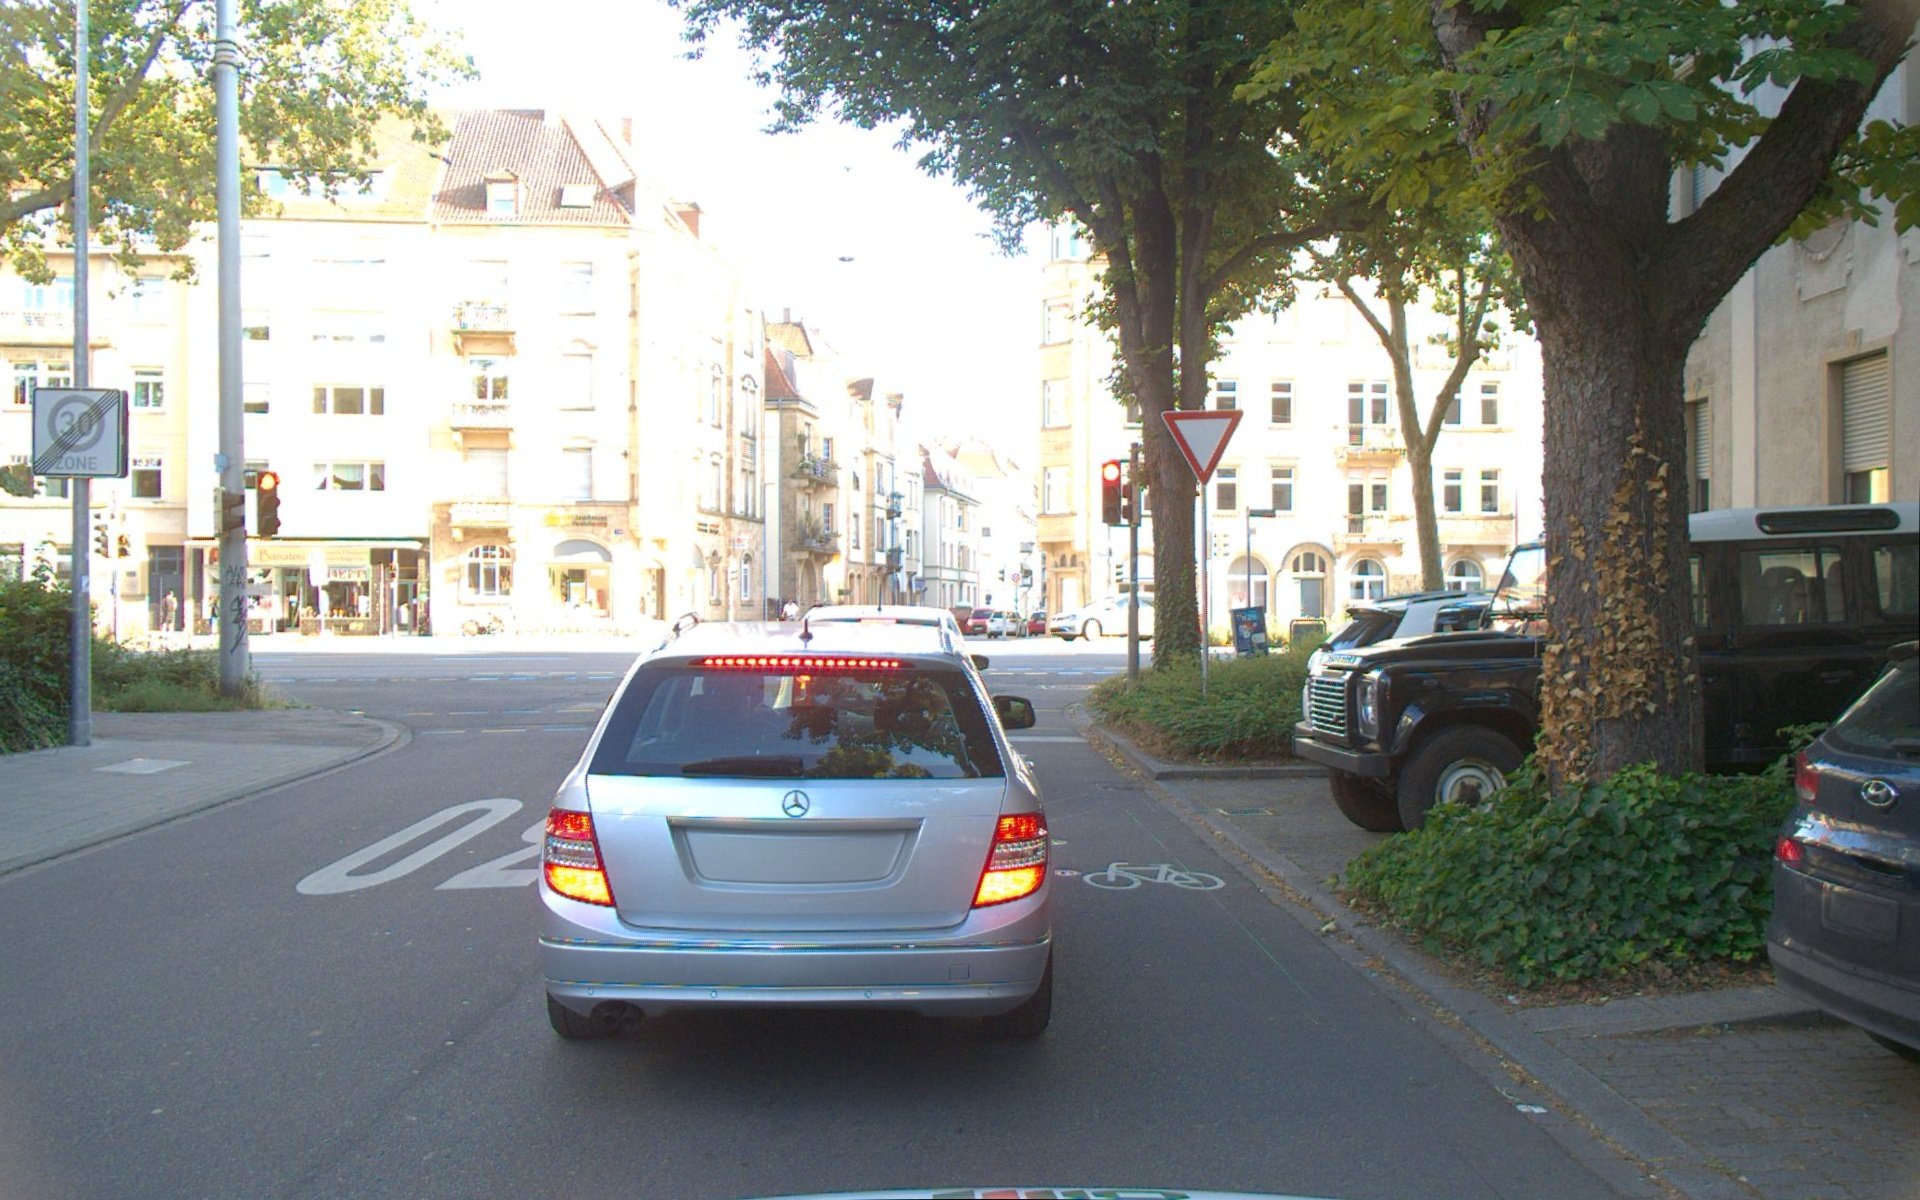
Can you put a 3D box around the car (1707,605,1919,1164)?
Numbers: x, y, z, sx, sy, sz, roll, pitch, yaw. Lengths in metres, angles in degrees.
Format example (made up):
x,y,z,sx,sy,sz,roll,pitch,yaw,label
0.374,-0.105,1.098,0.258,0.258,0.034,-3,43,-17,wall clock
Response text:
x,y,z,sx,sy,sz,roll,pitch,yaw,label
4.299,0.689,4.645,3.678,1.446,1.626,-2,-1,-7,car

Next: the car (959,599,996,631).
x,y,z,sx,sy,sz,roll,pitch,yaw,label
1.115,0.925,105.509,1.896,1.993,4.153,0,0,7,car

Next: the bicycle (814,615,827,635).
x,y,z,sx,sy,sz,roll,pitch,yaw,label
-6.170,1.112,73.257,0.557,0.849,1.564,0,0,-4,bicycle

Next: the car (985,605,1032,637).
x,y,z,sx,sy,sz,roll,pitch,yaw,label
2.544,1.056,85.899,1.684,1.504,4.004,-2,0,11,car

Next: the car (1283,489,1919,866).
x,y,z,sx,sy,sz,roll,pitch,yaw,label
4.421,0.400,10.235,4.402,1.990,1.791,-2,0,-4,car

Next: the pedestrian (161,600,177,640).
x,y,z,sx,sy,sz,roll,pitch,yaw,label
-30.206,0.762,63.157,0.502,1.537,0.532,0,0,-28,pedestrian

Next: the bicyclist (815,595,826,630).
x,y,z,sx,sy,sz,roll,pitch,yaw,label
-6.181,0.561,73.415,0.457,1.547,0.693,0,0,-4,bicyclist

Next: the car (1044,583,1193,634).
x,y,z,sx,sy,sz,roll,pitch,yaw,label
4.838,0.231,50.580,4.220,1.487,1.777,0,1,-19,car

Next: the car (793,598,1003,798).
x,y,z,sx,sy,sz,roll,pitch,yaw,label
-0.515,0.706,13.718,1.502,1.415,3.597,0,0,-2,car

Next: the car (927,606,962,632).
x,y,z,sx,sy,sz,roll,pitch,yaw,label
-0.992,1.243,108.689,1.615,1.632,3.866,0,-1,10,car

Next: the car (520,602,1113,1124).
x,y,z,sx,sy,sz,roll,pitch,yaw,label
-0.498,0.758,6.451,1.657,1.454,3.490,1,0,-3,car

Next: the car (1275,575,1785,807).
x,y,z,sx,sy,sz,roll,pitch,yaw,label
4.423,0.656,13.119,3.415,1.614,1.708,-1,0,-7,car

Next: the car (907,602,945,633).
x,y,z,sx,sy,sz,roll,pitch,yaw,label
-2.108,1.098,102.377,1.615,1.814,3.866,0,-1,10,car

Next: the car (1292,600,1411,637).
x,y,z,sx,sy,sz,roll,pitch,yaw,label
11.849,0.556,50.151,3.296,1.087,1.380,0,0,-2,car

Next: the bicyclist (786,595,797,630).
x,y,z,sx,sy,sz,roll,pitch,yaw,label
-7.449,0.566,73.240,0.457,1.541,0.655,0,0,-4,bicyclist

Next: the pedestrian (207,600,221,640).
x,y,z,sx,sy,sz,roll,pitch,yaw,label
-28.582,0.773,63.343,0.466,1.537,0.428,0,0,-21,pedestrian

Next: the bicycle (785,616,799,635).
x,y,z,sx,sy,sz,roll,pitch,yaw,label
-7.460,1.124,73.370,0.557,0.849,1.564,0,0,-4,bicycle

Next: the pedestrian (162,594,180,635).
x,y,z,sx,sy,sz,roll,pitch,yaw,label
-29.812,0.530,62.474,0.557,1.537,0.499,0,0,-20,pedestrian

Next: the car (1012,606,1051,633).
x,y,z,sx,sy,sz,roll,pitch,yaw,label
4.441,1.189,102.128,1.684,1.503,4.004,-4,0,11,car
